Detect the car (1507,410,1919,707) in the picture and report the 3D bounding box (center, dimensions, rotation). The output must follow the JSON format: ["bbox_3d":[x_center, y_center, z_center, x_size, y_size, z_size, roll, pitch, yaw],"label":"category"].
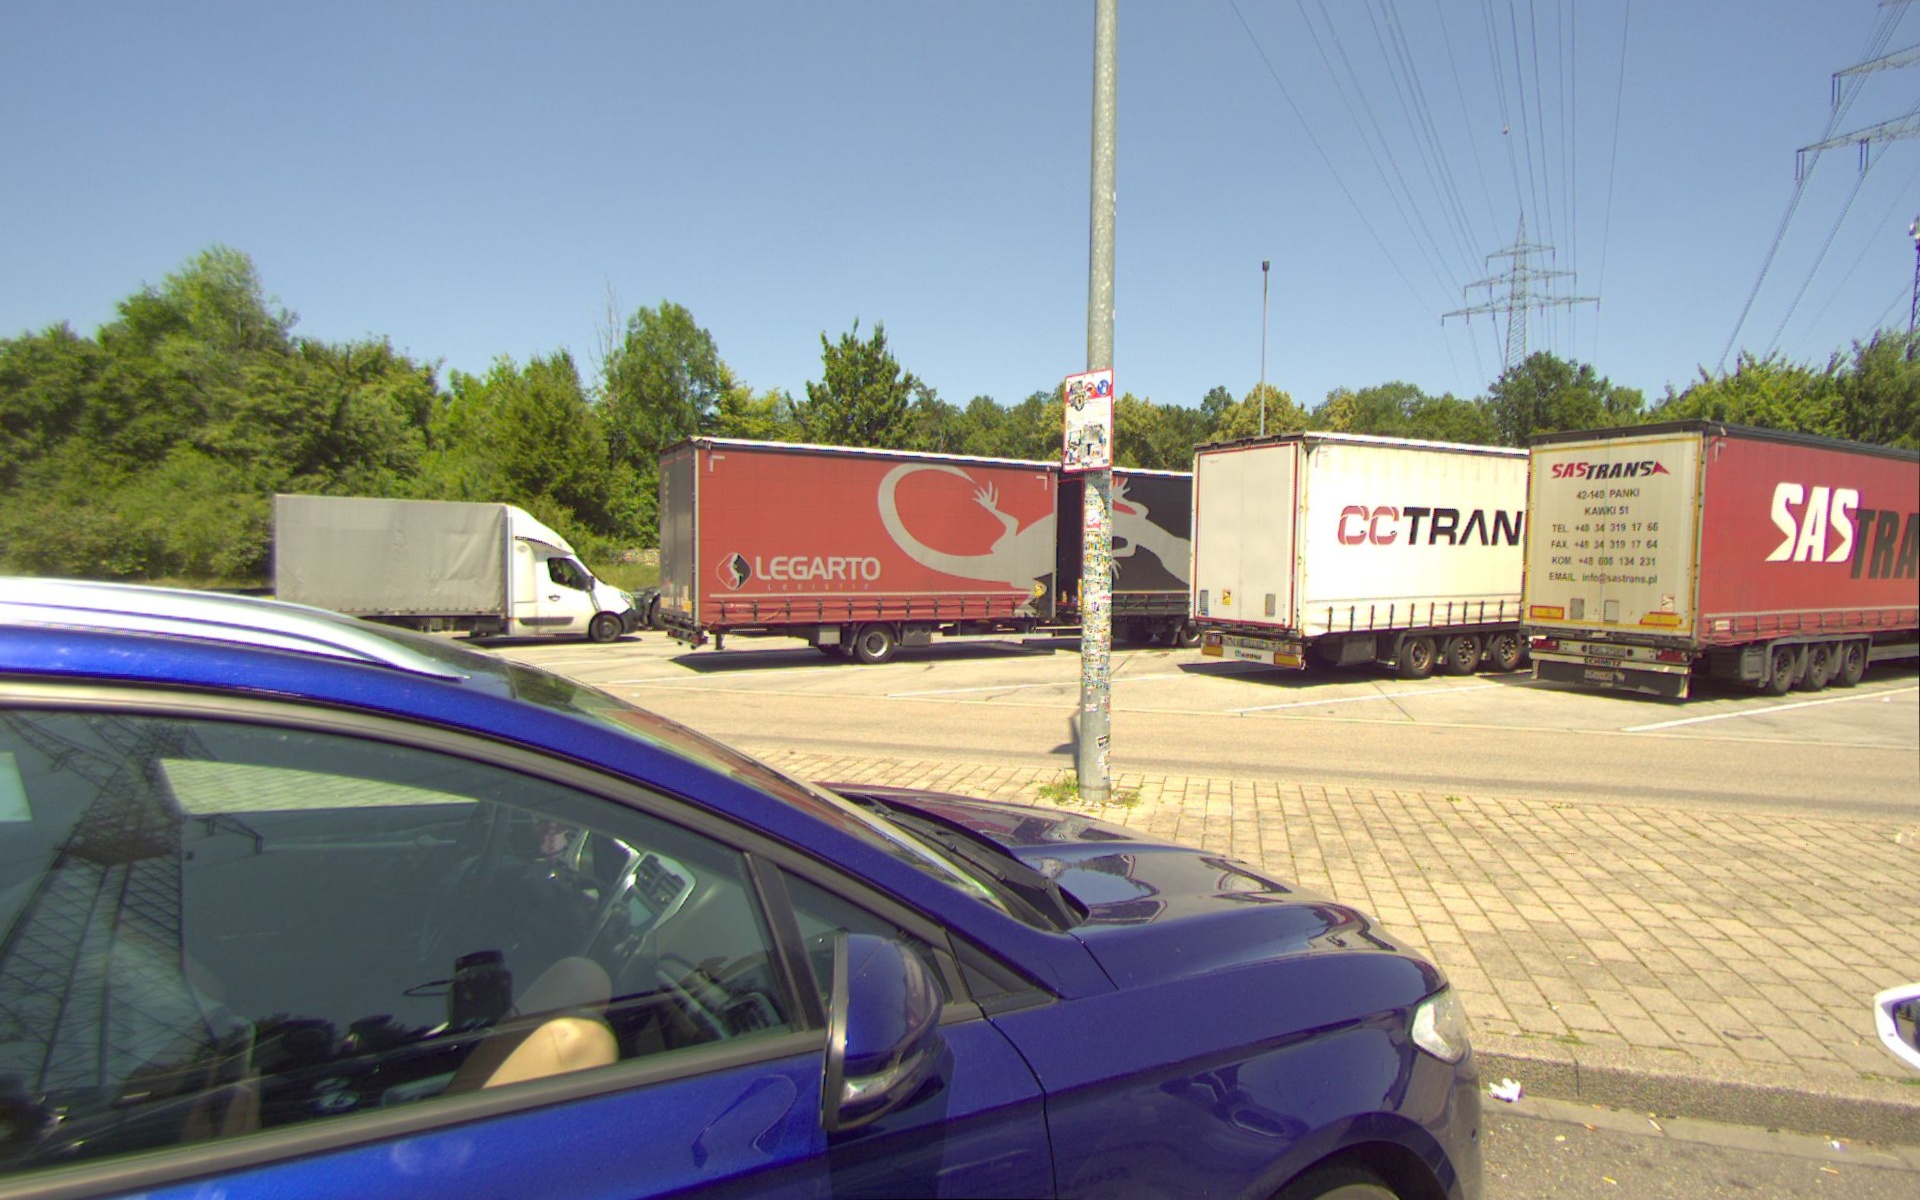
[{"bbox_3d":[15.198,-0.695,18.442,12.777,4.169,2.683,-1,3,-30],"label":"car"}]

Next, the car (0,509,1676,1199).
[{"bbox_3d":[-1.005,0.667,1.453,4.380,1.464,1.771,0,0,-32],"label":"car"}]

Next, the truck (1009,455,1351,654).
[{"bbox_3d":[5.584,-1.081,24.816,8.683,4.248,2.800,-1,2,-30],"label":"truck"}]

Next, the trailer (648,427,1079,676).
[{"bbox_3d":[-1.762,-0.933,20.493,8.389,4.248,2.800,-1,2,-30],"label":"trailer"}]

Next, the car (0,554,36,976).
[{"bbox_3d":[-4.631,0.552,2.105,3.700,1.432,1.595,0,0,-32],"label":"car"}]

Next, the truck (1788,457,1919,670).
[{"bbox_3d":[21.123,-0.774,21.853,6.163,4.169,2.683,-1,3,-30],"label":"truck"}]

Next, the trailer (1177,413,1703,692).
[{"bbox_3d":[10.093,-0.884,20.055,12.786,4.325,2.800,-1,2,-31],"label":"trailer"}]

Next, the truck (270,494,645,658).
[{"bbox_3d":[-11.133,-0.590,22.863,7.219,3.277,2.308,-2,3,-29],"label":"truck"}]

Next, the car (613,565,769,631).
[{"bbox_3d":[-7.623,-0.052,28.505,3.953,1.773,1.902,0,0,-30],"label":"car"}]

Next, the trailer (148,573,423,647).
[{"bbox_3d":[-15.968,0.236,24.169,5.332,1.617,1.585,0,0,-30],"label":"trailer"}]
